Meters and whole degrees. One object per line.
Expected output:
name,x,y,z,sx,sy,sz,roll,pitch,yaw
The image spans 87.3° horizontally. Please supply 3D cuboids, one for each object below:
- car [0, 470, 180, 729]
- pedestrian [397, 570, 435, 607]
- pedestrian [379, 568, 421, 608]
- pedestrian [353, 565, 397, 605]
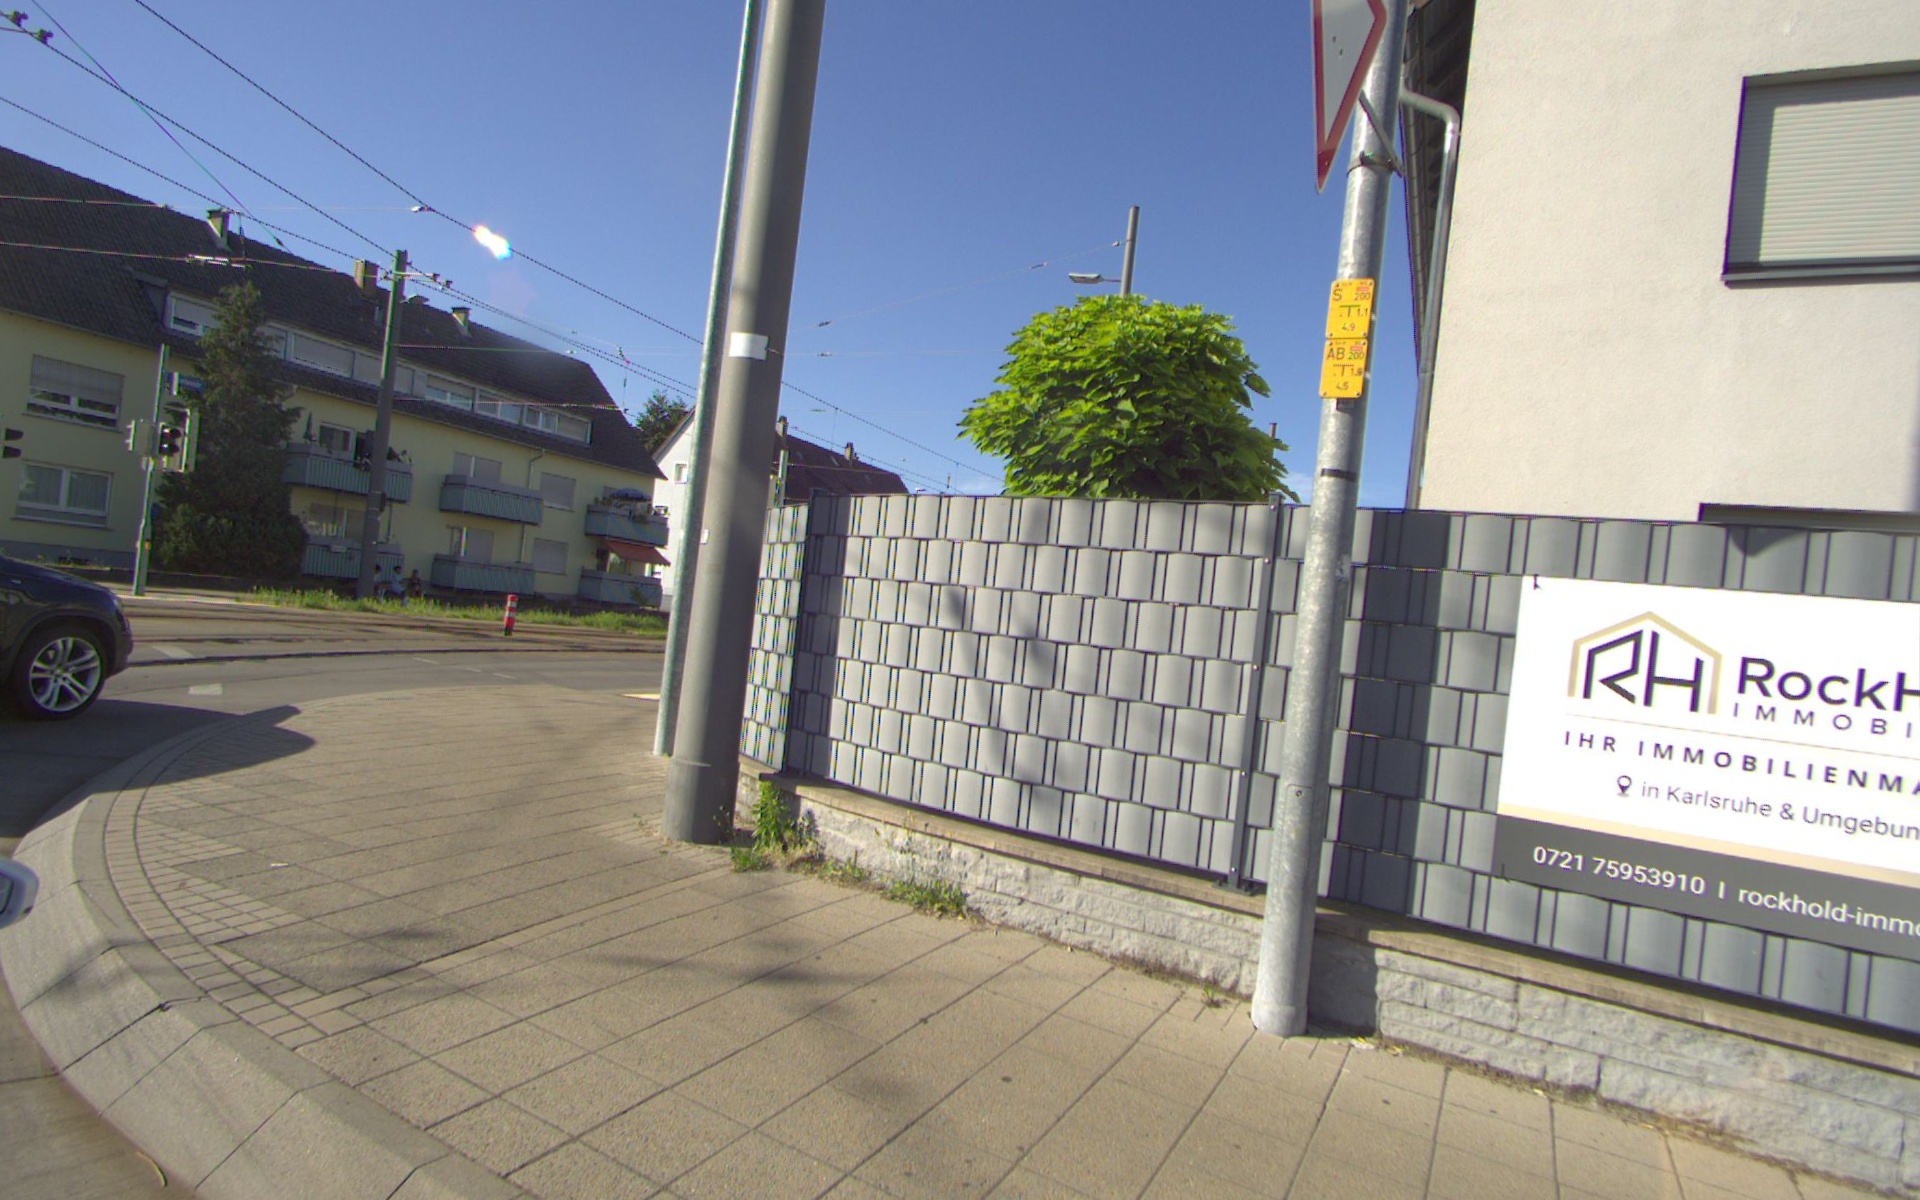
car,-7.136,-0.139,5.727,1.784,1.690,4.259,8,-1,2
pedestrian,-16.806,-0.340,31.086,0.710,1.017,0.596,7,-2,3
pedestrian,-16.946,-0.364,30.450,0.806,1.077,0.626,7,-2,-7
pedestrian,-17.223,-0.447,29.621,0.805,1.059,0.688,6,-1,24
